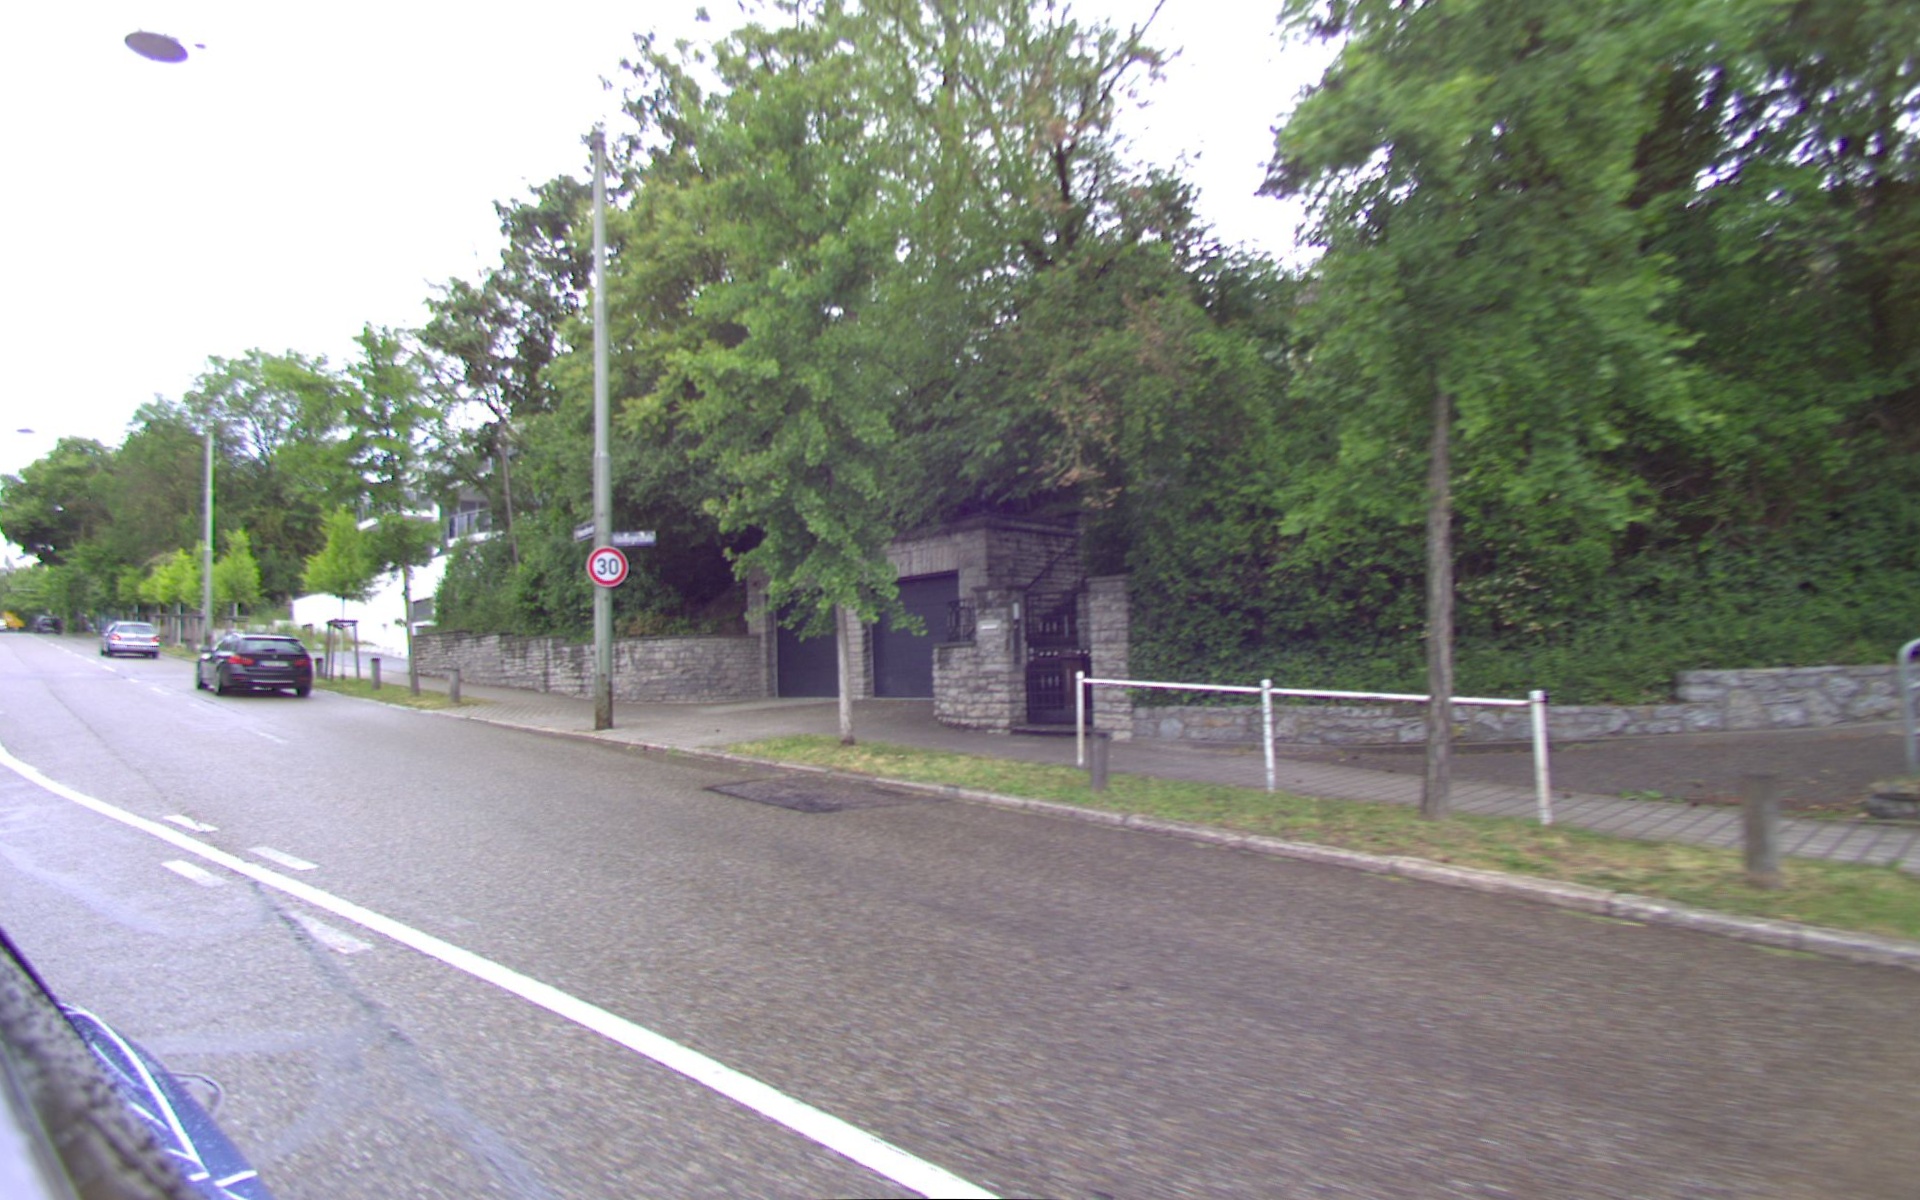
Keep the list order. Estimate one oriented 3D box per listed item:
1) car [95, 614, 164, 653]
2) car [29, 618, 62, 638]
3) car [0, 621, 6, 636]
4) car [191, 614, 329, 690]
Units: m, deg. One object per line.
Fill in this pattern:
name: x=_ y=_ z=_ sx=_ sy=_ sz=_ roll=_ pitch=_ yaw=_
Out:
car: x=-33.781 y=1.362 z=41.133 sx=1.744 sy=1.497 sz=3.803 roll=5 pitch=-4 yaw=-44
car: x=-75.039 y=2.314 z=83.023 sx=3.919 sy=1.561 sz=1.725 roll=-1 pitch=-4 yaw=45
car: x=-96.486 y=2.837 z=101.023 sx=1.741 sy=1.497 sz=4.003 roll=2 pitch=-2 yaw=-44
car: x=-16.526 y=1.174 z=23.796 sx=1.889 sy=1.597 sz=4.590 roll=5 pitch=-4 yaw=-44
